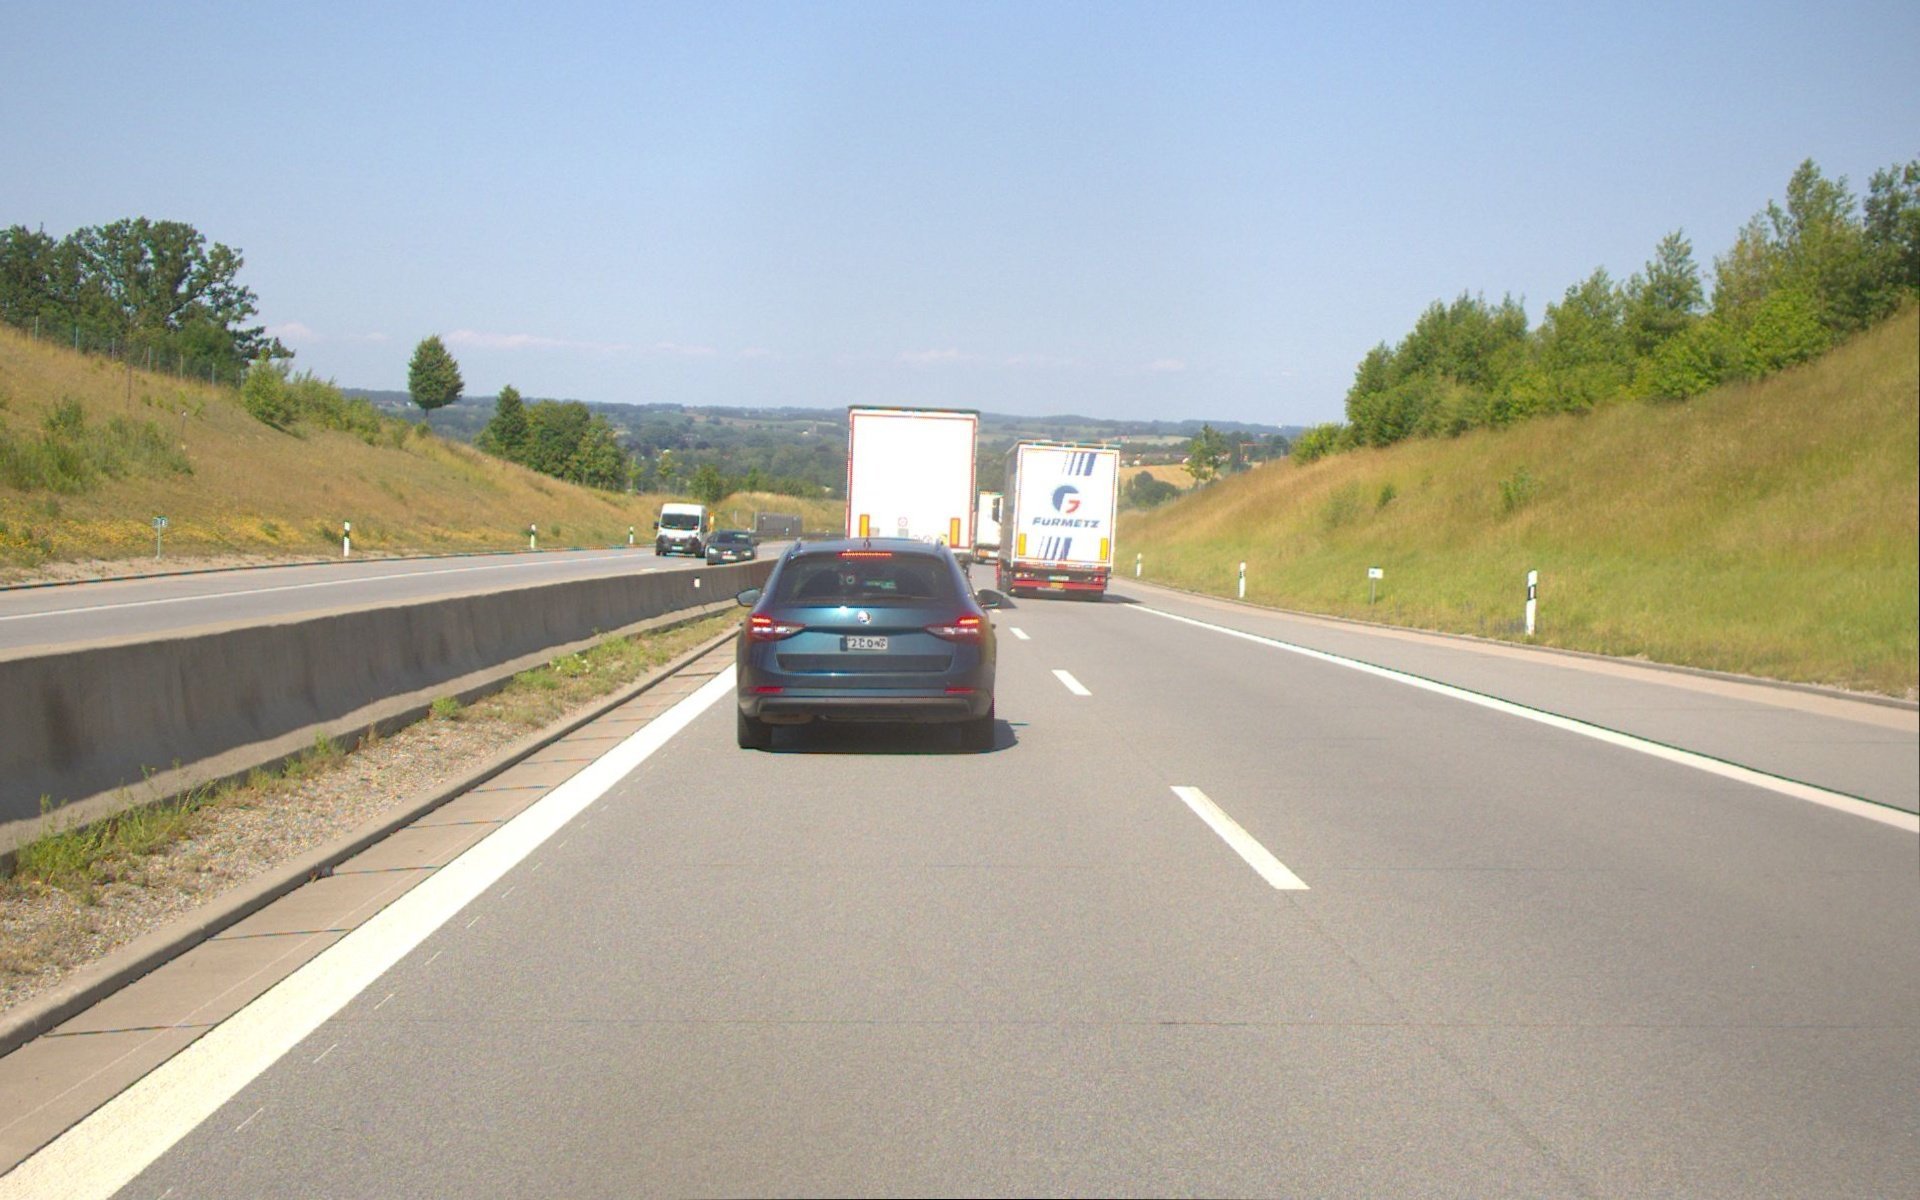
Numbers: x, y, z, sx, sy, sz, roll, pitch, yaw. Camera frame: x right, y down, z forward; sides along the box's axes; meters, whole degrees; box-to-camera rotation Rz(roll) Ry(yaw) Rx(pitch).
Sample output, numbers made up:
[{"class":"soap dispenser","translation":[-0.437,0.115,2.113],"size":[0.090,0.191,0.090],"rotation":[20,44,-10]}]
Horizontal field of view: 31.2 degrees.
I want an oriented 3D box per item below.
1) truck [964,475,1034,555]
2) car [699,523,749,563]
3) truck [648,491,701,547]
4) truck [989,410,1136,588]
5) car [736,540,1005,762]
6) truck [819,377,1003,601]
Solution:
[{"class":"truck","translation":[2.274,-4.843,195.913],"size":[3.604,4.366,11.233],"rotation":[1,1,2]},{"class":"car","translation":[-8.929,-2.172,130.325],"size":[1.773,1.444,4.184],"rotation":[2,1,-3]},{"class":"truck","translation":[-13.223,-3.752,159.523],"size":[1.993,2.440,5.668],"rotation":[2,1,-1]},{"class":"truck","translation":[2.763,-2.637,91.176],"size":[3.604,4.366,11.233],"rotation":[1,1,2]},{"class":"car","translation":[-0.641,0.304,24.628],"size":[1.776,1.436,3.789],"rotation":[0,1,-2]},{"class":"truck","translation":[-0.906,-2.319,73.376],"size":[3.211,4.366,11.233],"rotation":[1,1,3]}]
